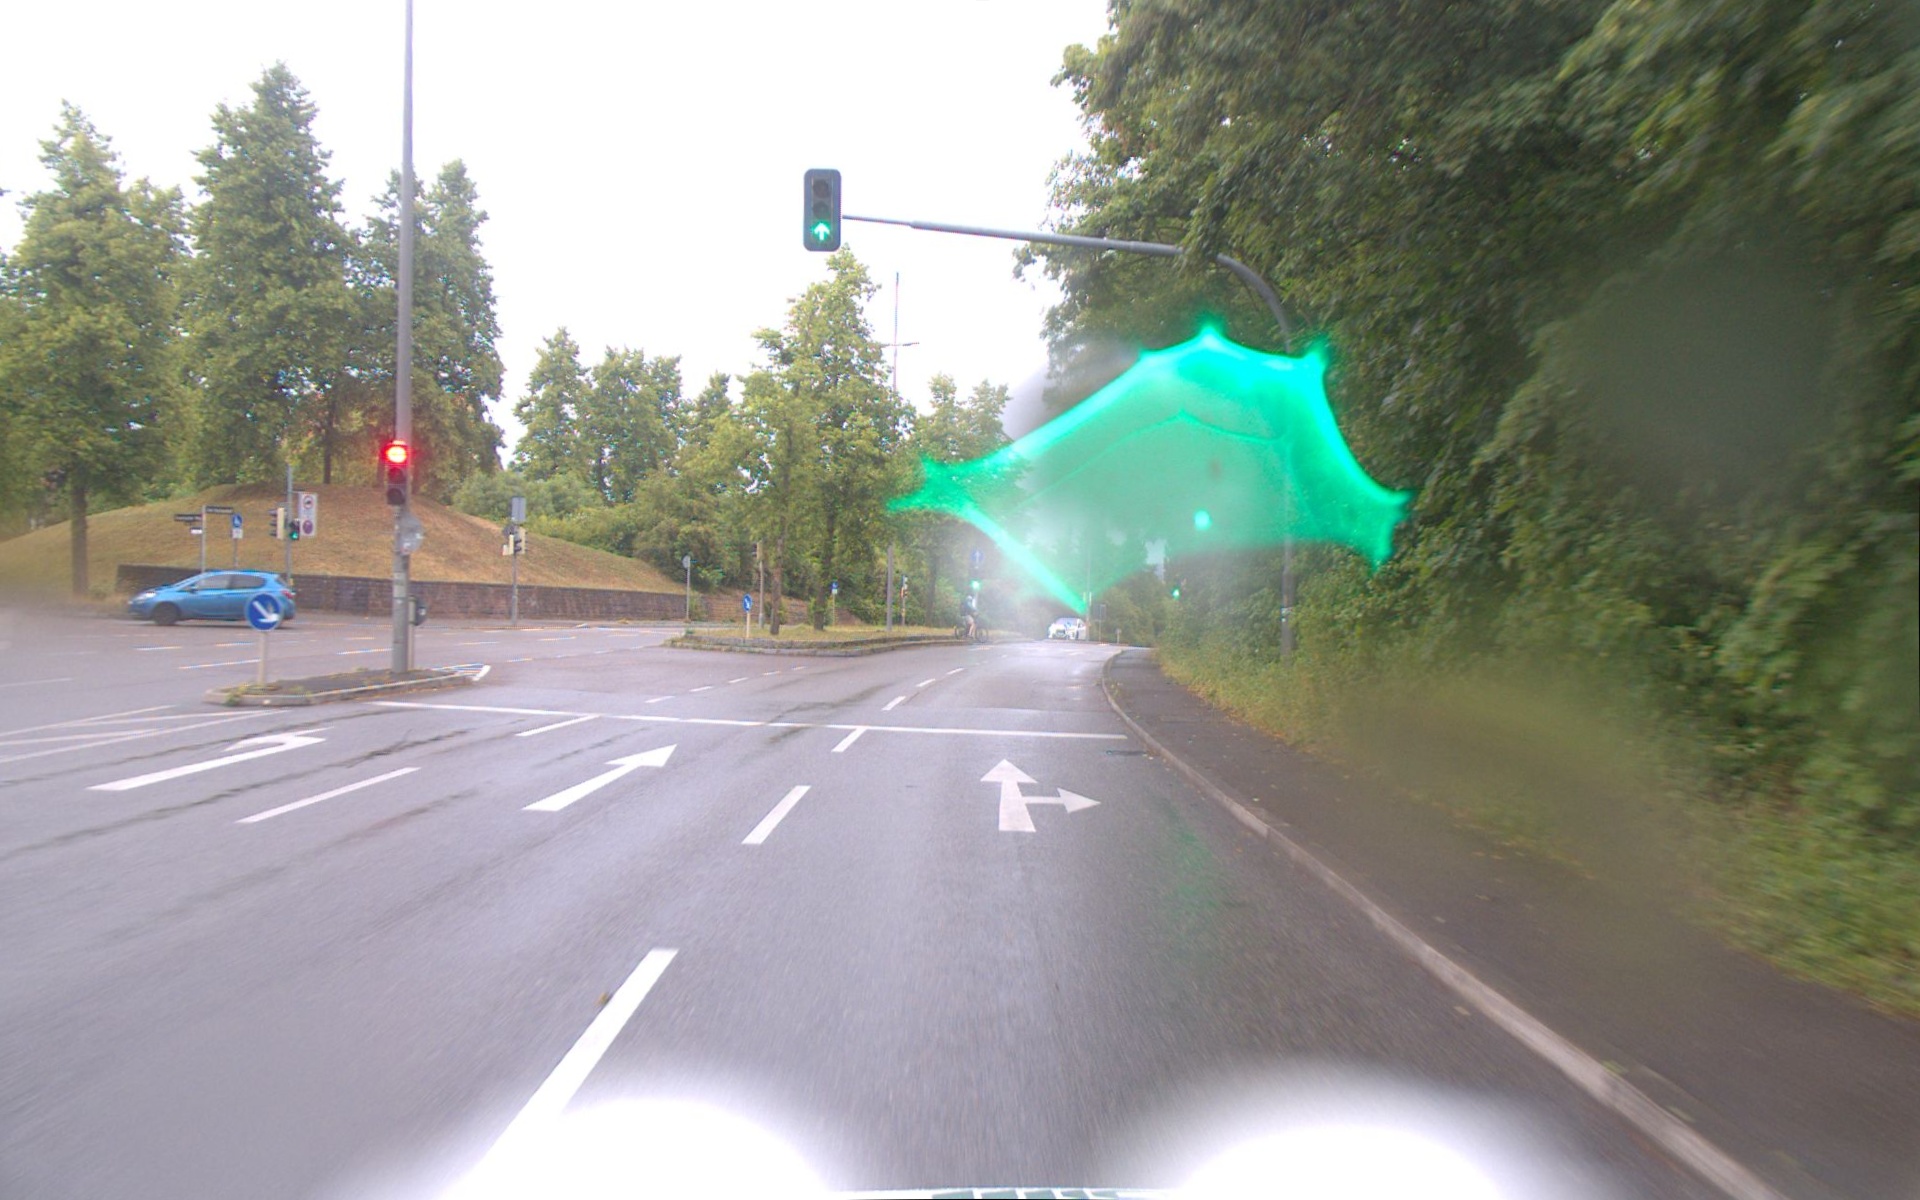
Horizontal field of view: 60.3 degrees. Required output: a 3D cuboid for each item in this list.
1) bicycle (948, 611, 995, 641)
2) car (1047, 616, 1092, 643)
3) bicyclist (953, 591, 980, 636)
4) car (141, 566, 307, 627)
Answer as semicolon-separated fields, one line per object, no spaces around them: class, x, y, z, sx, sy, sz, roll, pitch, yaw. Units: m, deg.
bicycle;0.479;1.072;67.349;2.124;1.163;0.545;3;-1;-45
car;7.524;2.066;113.115;1.904;1.664;5.007;2;-2;17
bicyclist;0.253;0.566;67.385;0.795;1.783;0.713;4;-5;-44
car;-19.404;-0.091;43.600;3.880;1.516;1.981;1;1;-29
